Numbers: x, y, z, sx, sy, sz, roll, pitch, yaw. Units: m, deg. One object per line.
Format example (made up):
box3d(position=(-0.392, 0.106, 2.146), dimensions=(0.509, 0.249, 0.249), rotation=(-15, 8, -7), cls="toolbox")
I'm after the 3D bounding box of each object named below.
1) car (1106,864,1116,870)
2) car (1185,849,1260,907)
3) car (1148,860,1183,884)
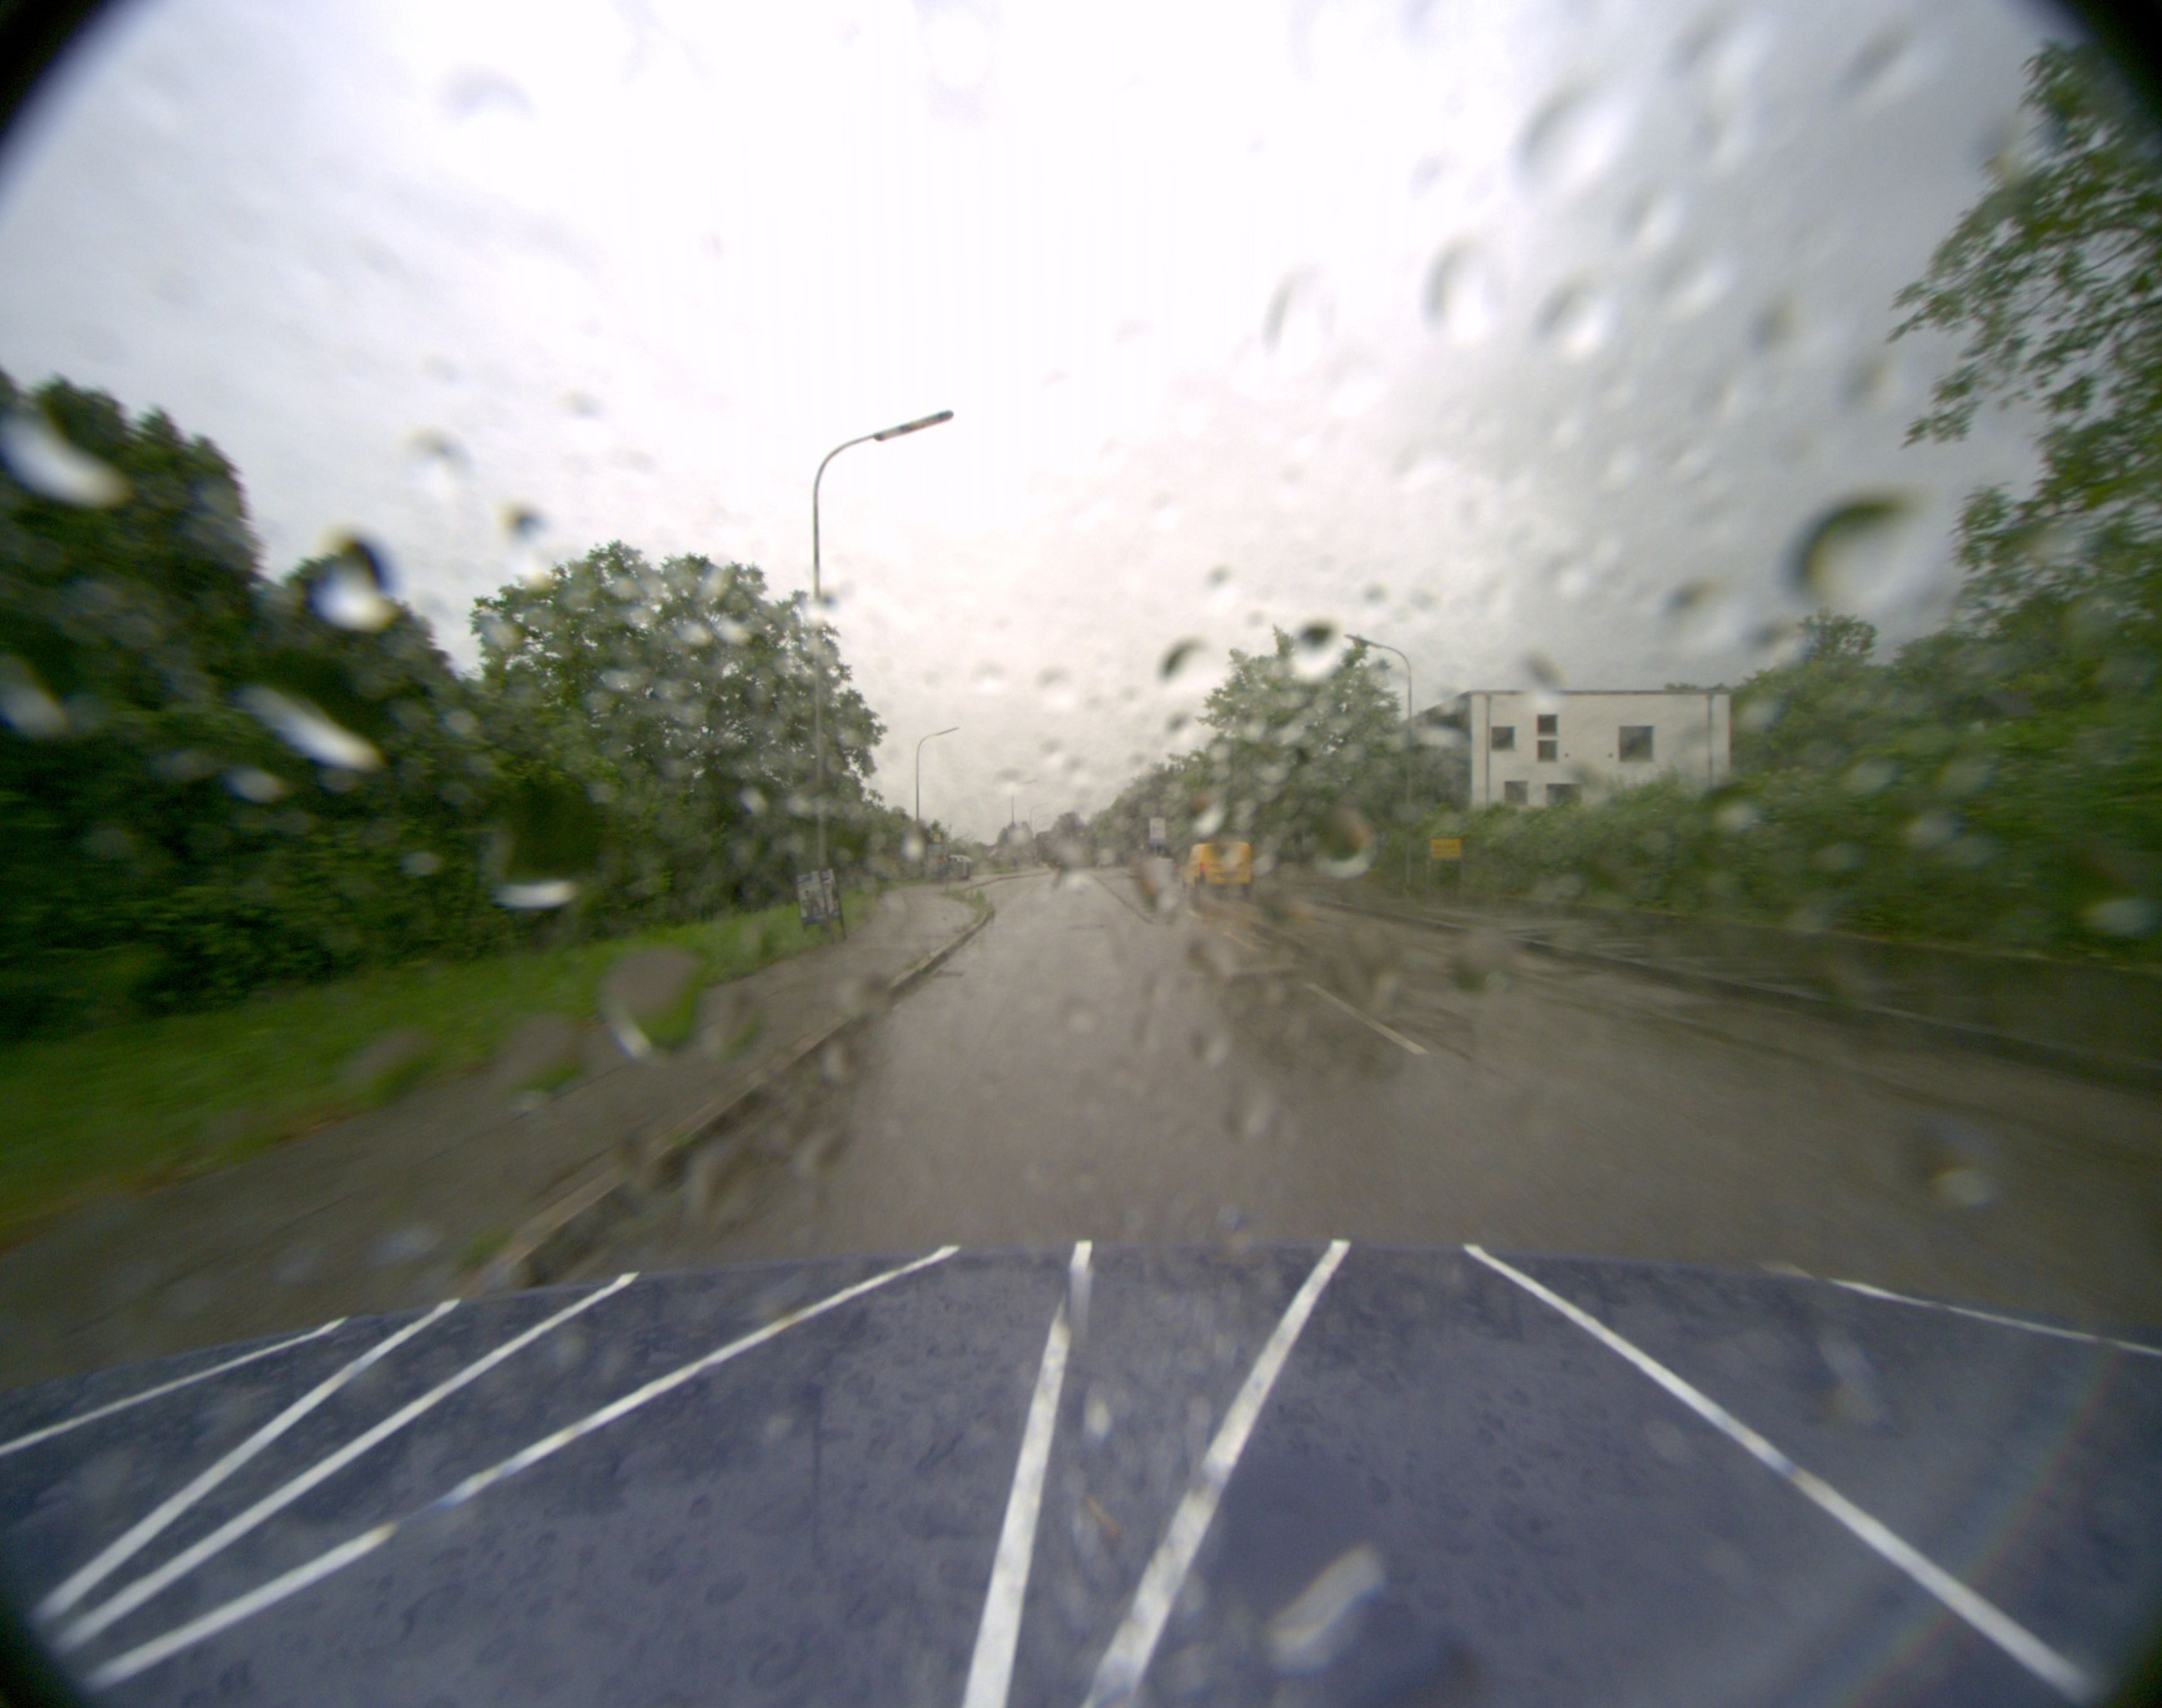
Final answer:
box3d(position=(6.822, 2.981, 173.206), dimensions=(1.692, 1.410, 4.739), rotation=(0, -1, -5), cls="car")
box3d(position=(5.000, 0.787, 27.520), dimensions=(1.942, 1.860, 5.037), rotation=(-1, 0, 2), cls="car")
box3d(position=(5.019, 1.030, 45.589), dimensions=(1.706, 1.341, 3.905), rotation=(-1, 0, 0), cls="car")
